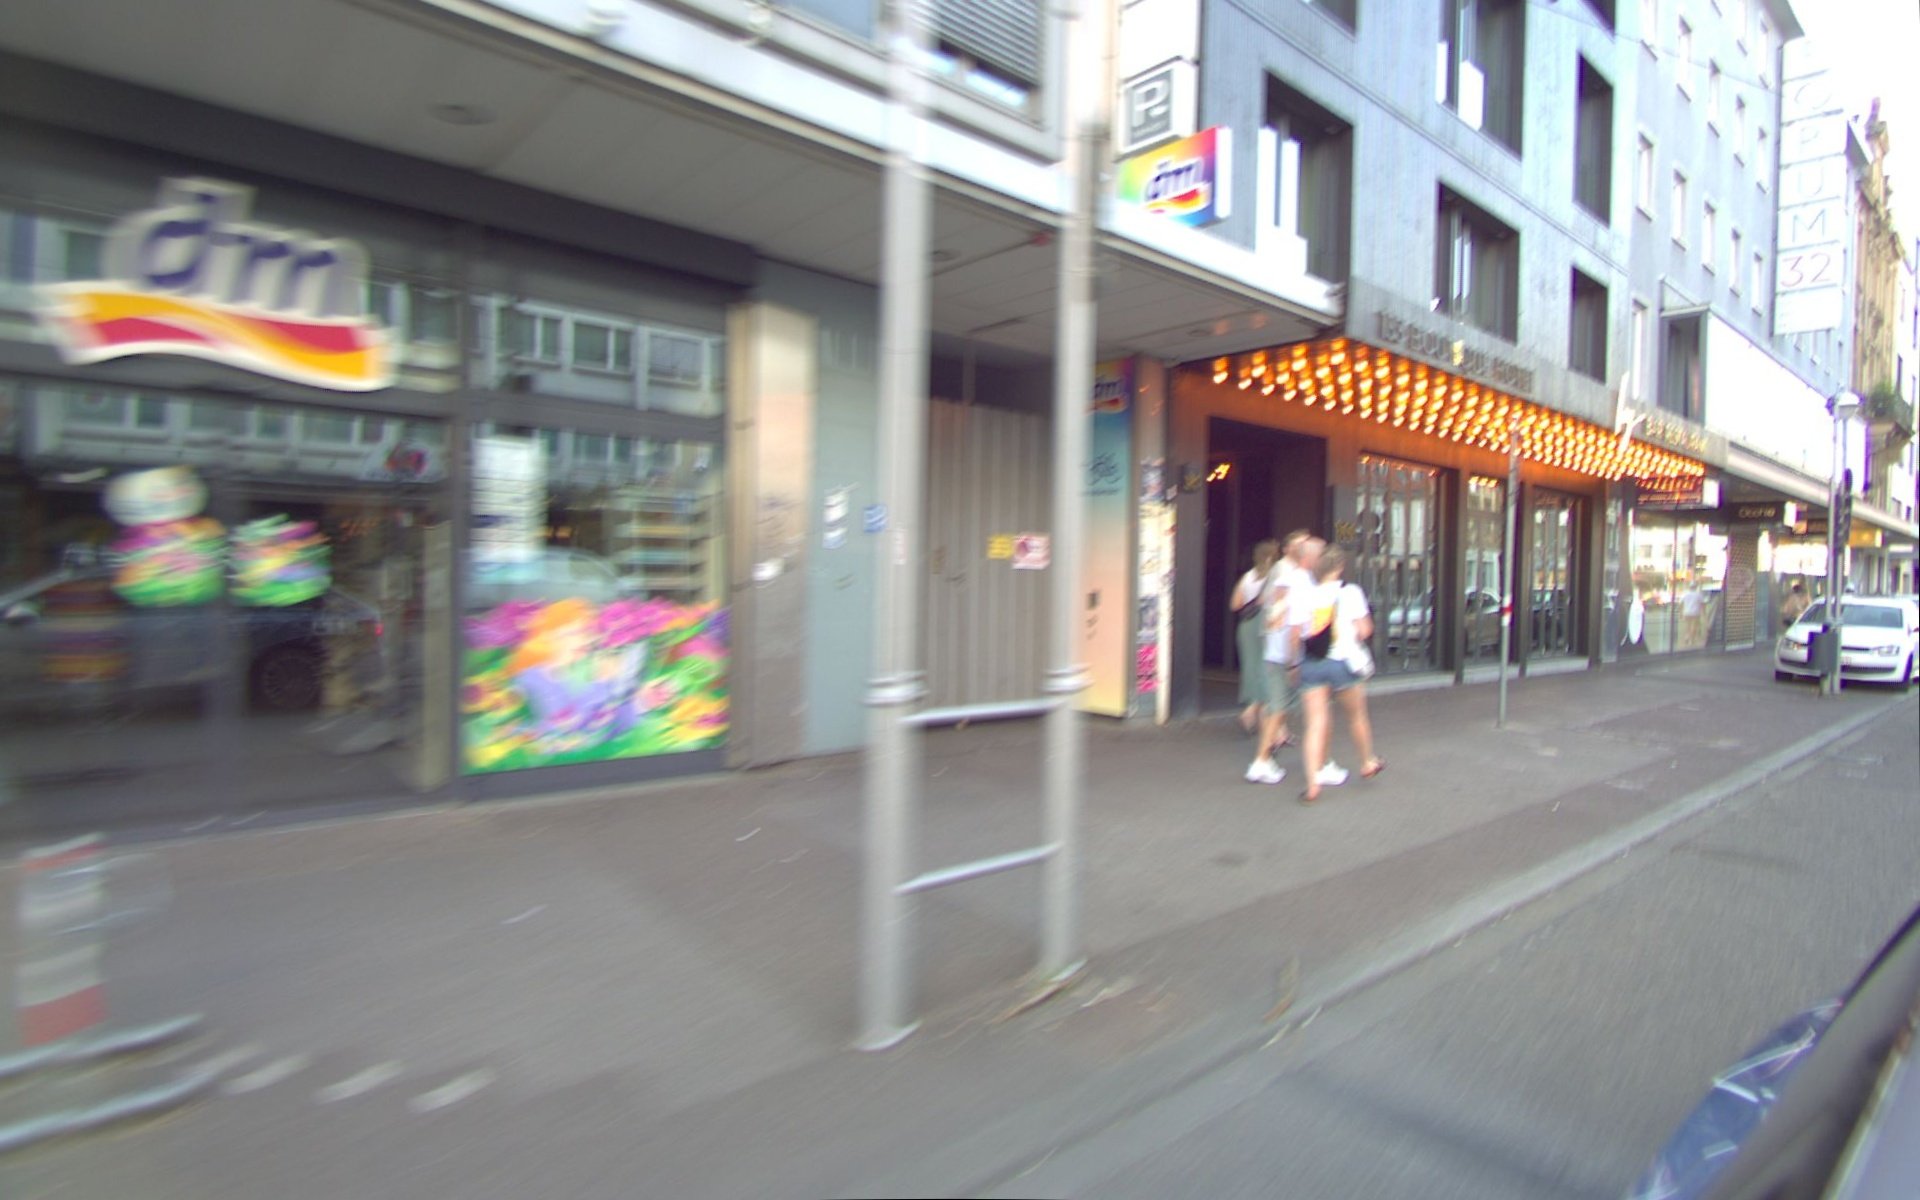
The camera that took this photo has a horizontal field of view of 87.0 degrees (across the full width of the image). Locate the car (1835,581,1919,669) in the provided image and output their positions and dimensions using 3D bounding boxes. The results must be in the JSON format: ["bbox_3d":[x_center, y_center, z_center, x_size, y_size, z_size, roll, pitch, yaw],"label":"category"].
[{"bbox_3d":[19.023,0.461,20.296,3.965,1.594,1.672,0,2,-41],"label":"car"}]

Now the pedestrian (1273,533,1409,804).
[{"bbox_3d":[2.616,0.429,6.950,0.635,1.748,0.605,0,2,-41],"label":"pedestrian"}]

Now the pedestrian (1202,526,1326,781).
[{"bbox_3d":[2.241,0.361,7.474,0.594,1.775,0.610,0,2,-41],"label":"pedestrian"}]

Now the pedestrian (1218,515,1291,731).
[{"bbox_3d":[2.715,0.197,9.337,0.414,1.922,0.452,0,2,-41],"label":"pedestrian"}]

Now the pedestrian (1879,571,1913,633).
[{"bbox_3d":[31.339,0.068,33.891,0.810,2.038,0.711,0,2,-41],"label":"pedestrian"}]

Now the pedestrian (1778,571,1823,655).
[{"bbox_3d":[18.081,0.268,21.779,0.594,1.775,0.610,0,2,-41],"label":"pedestrian"}]

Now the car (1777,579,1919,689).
[{"bbox_3d":[15.276,0.492,16.987,3.817,1.561,1.682,0,3,-40],"label":"car"}]

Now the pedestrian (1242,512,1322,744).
[{"bbox_3d":[2.753,0.225,8.669,0.414,1.922,0.456,0,2,-41],"label":"pedestrian"}]

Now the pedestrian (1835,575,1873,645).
[{"bbox_3d":[23.003,0.242,26.036,0.594,1.775,0.610,0,2,-41],"label":"pedestrian"}]
